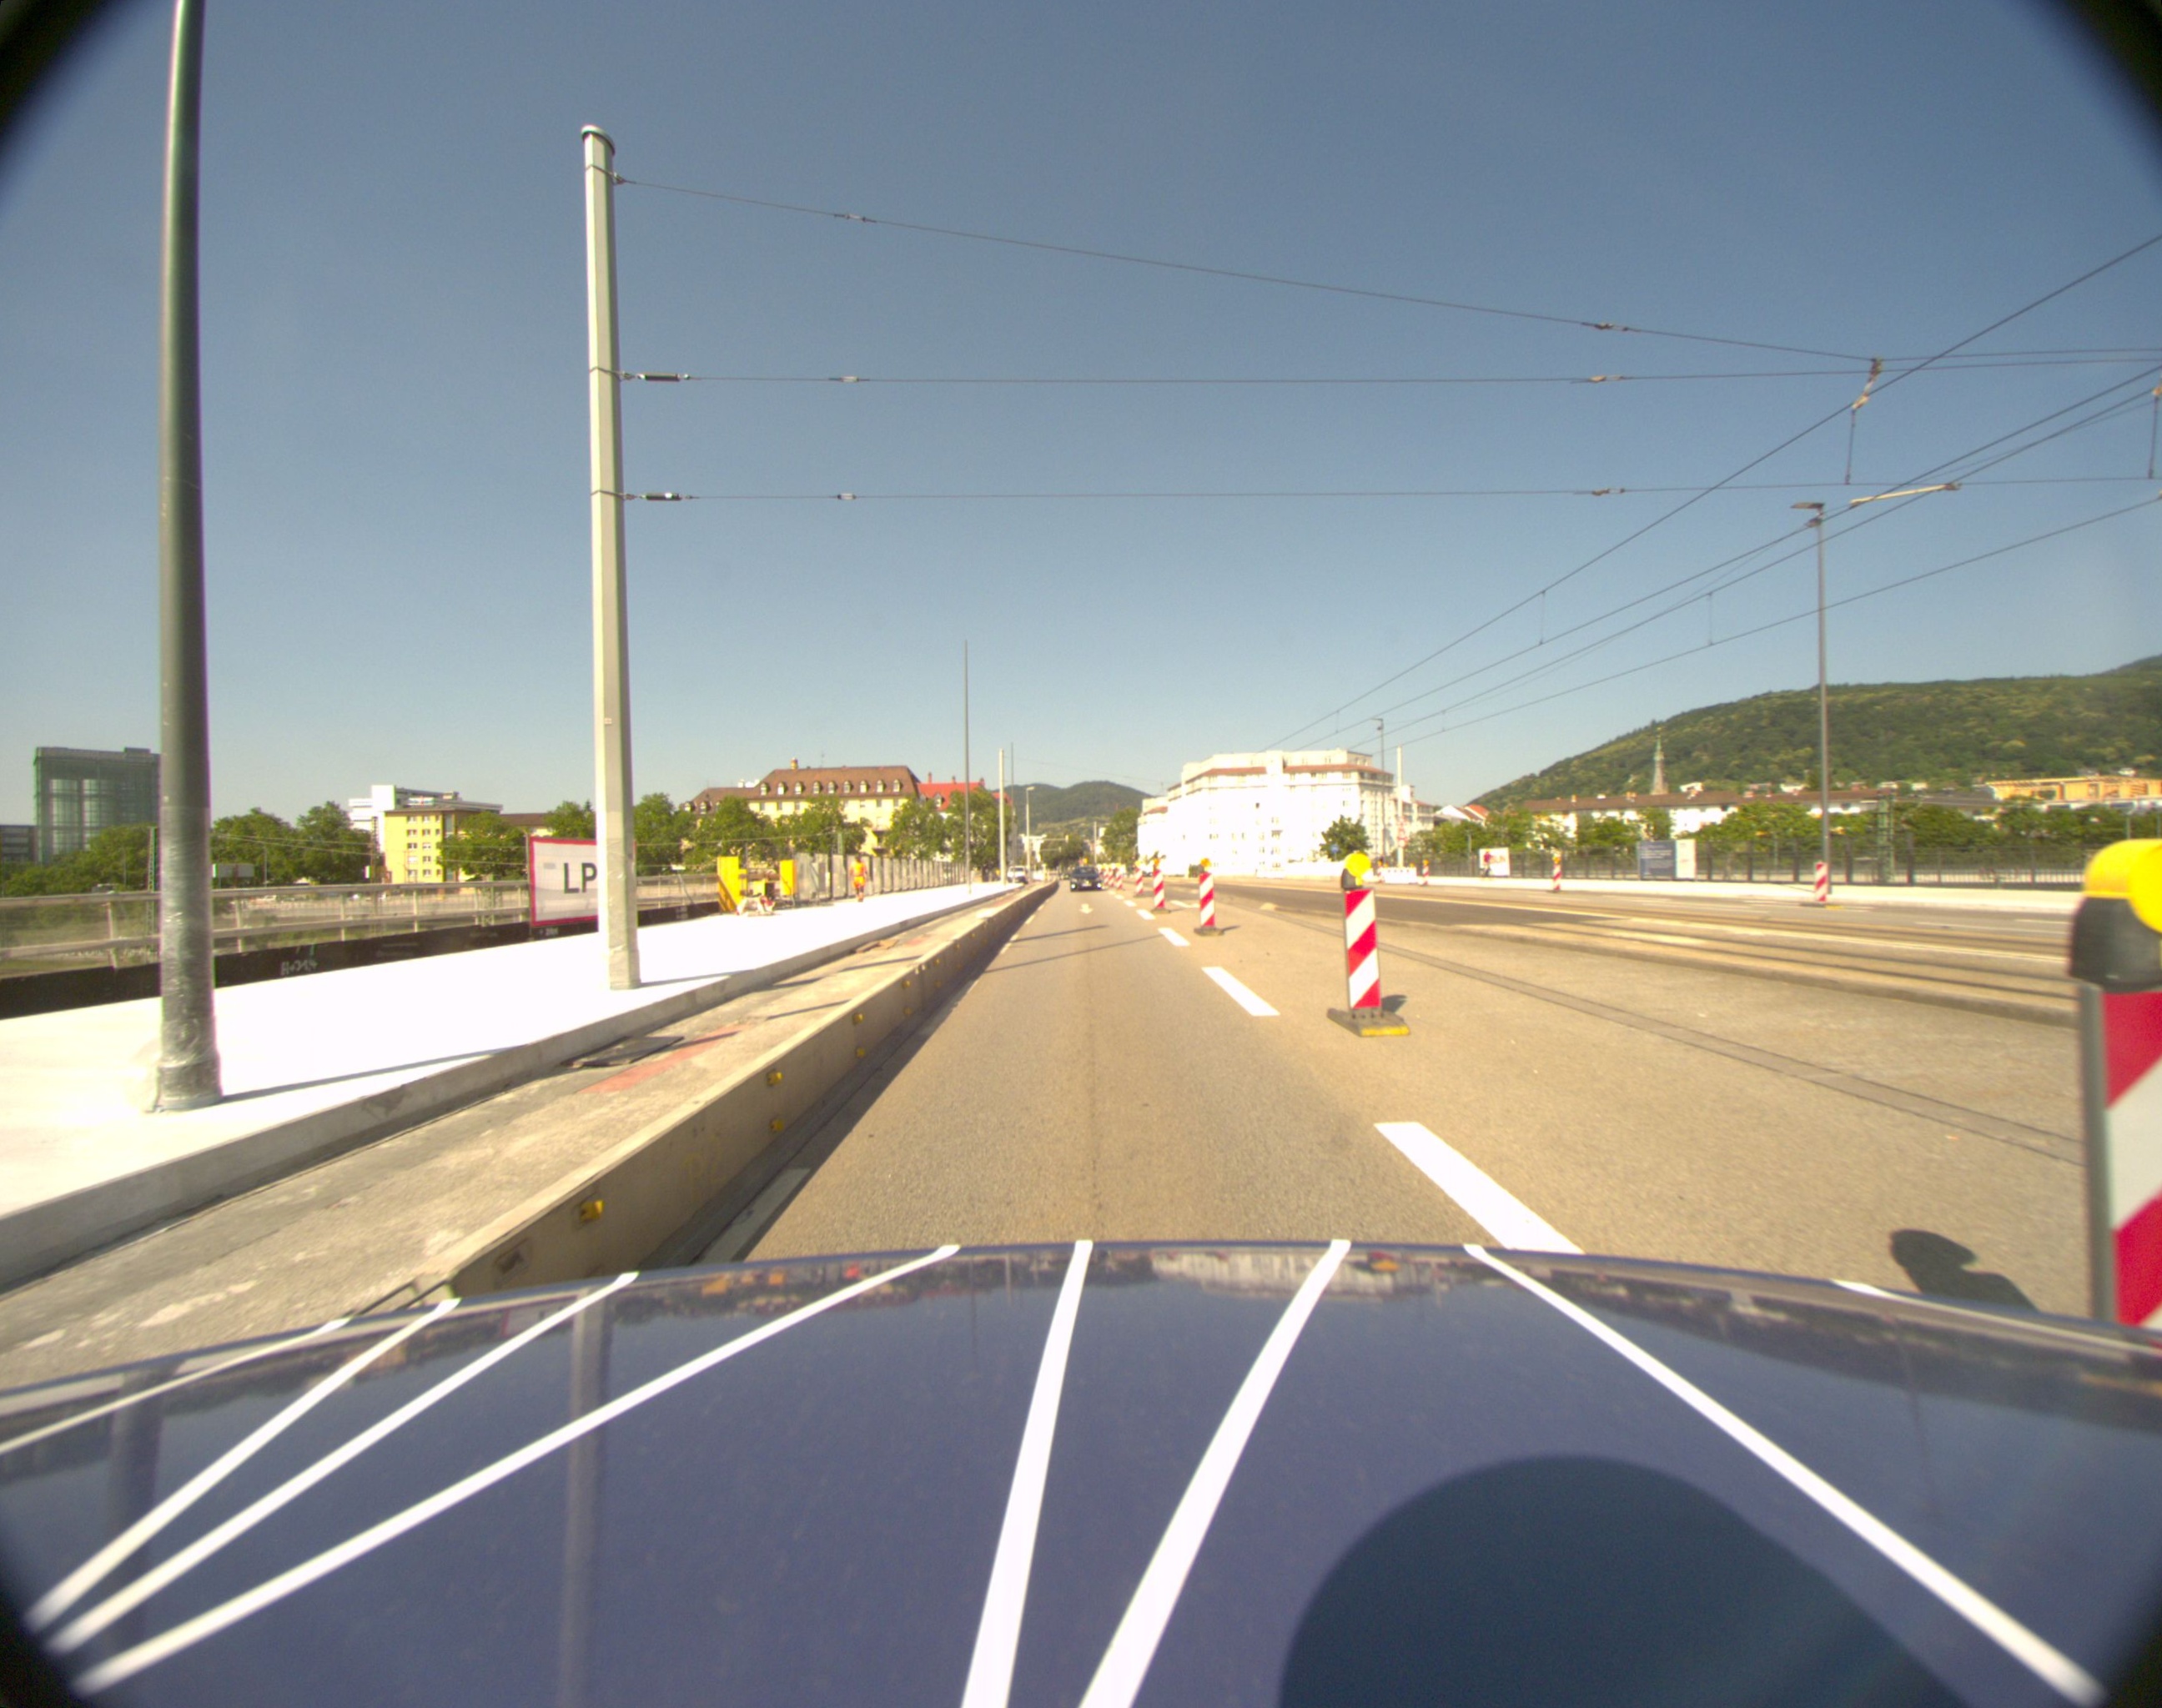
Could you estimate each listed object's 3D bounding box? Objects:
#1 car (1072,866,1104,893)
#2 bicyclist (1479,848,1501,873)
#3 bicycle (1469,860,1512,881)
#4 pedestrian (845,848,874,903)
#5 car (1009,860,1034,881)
[{"bbox_3d":[0.388,1.442,44.194,1.698,1.388,4.362,-3,0,-1],"label":"car"},{"bbox_3d":[24.889,0.401,46.212,0.858,1.510,0.817,-2,0,-1],"label":"bicyclist"},{"bbox_3d":[24.908,0.970,46.331,0.858,1.187,3.072,-2,0,-1],"label":"bicycle"},{"bbox_3d":[-7.955,0.762,27.309,0.733,1.953,1.016,0,0,0],"label":"pedestrian"},{"bbox_3d":[-6.419,1.793,82.429,1.938,2.077,6.472,-1,-1,1],"label":"car"}]
